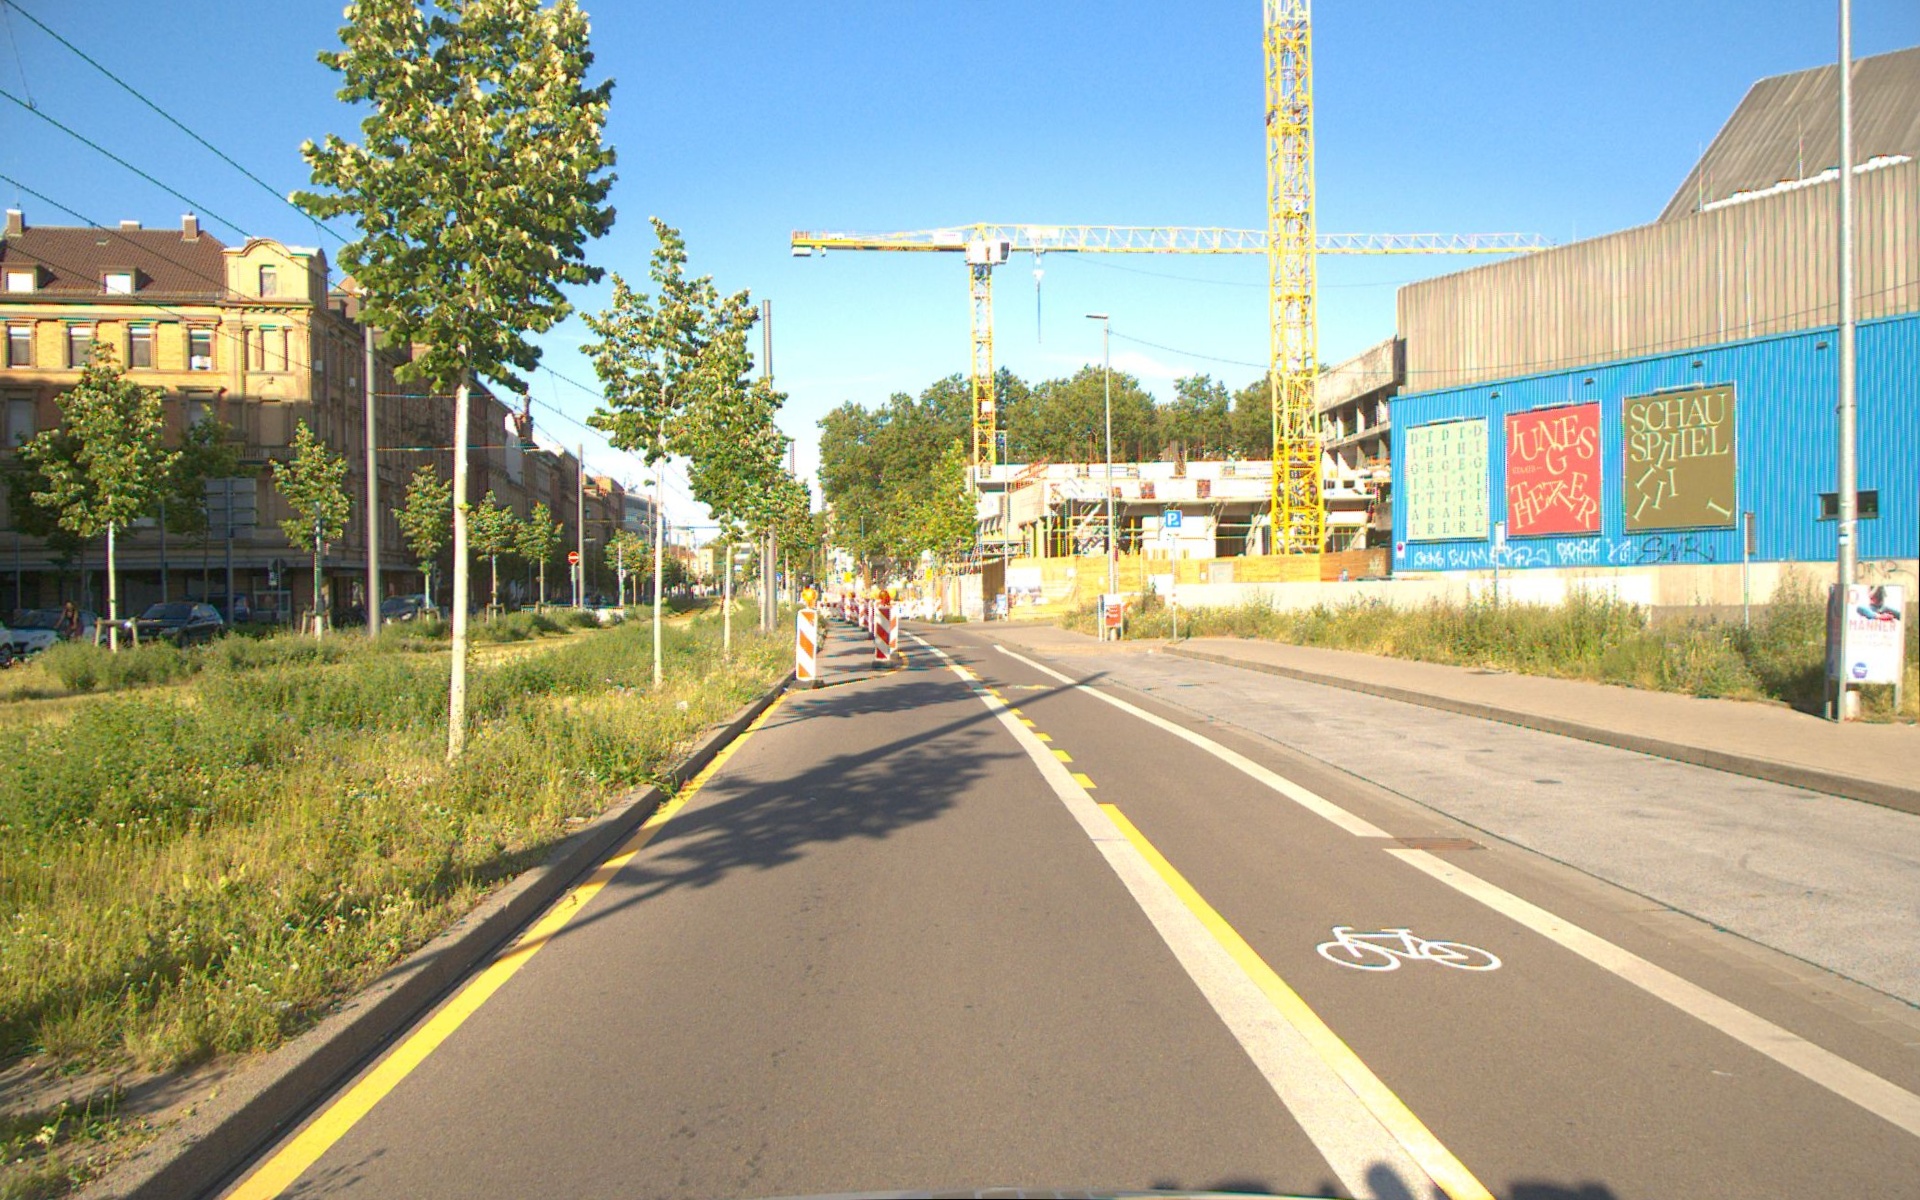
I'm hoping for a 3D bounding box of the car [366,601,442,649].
[{"bbox_3d":[-21.547,0.937,64.266,1.693,1.777,4.119,0,0,-2],"label":"car"}]

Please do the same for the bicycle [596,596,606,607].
[{"bbox_3d":[-30.411,0.130,140.181,0.682,0.995,1.824,0,0,-7],"label":"bicycle"}]

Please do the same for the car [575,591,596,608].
[{"bbox_3d":[-35.603,-0.056,157.138,1.537,1.590,4.706,-1,0,-8],"label":"car"}]

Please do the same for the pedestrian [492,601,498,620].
[{"bbox_3d":[-37.809,0.854,134.481,0.396,1.612,0.425,1,-1,-8],"label":"pedestrian"}]

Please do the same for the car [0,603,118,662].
[{"bbox_3d":[-25.449,0.883,46.409,1.615,1.581,3.966,0,0,0],"label":"car"}]

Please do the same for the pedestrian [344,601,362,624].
[{"bbox_3d":[-33.052,0.673,90.054,0.677,1.268,0.928,0,0,-7],"label":"pedestrian"}]

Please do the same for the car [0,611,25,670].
[{"bbox_3d":[-24.983,1.021,40.860,1.591,1.466,3.818,1,0,0],"label":"car"}]

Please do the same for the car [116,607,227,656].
[{"bbox_3d":[-25.873,1.015,54.416,1.694,1.487,3.901,2,0,1],"label":"car"}]

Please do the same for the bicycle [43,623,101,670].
[{"bbox_3d":[-22.836,1.183,42.564,0.553,1.115,1.770,-2,0,-1],"label":"bicycle"}]

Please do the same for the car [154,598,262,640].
[{"bbox_3d":[-36.570,0.921,80.532,4.431,1.936,1.892,-1,0,-13],"label":"car"}]

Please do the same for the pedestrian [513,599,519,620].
[{"bbox_3d":[-39.235,0.849,146.155,0.360,1.795,0.405,1,-1,-8],"label":"pedestrian"}]

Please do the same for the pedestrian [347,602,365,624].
[{"bbox_3d":[-33.668,0.724,92.215,0.776,1.229,0.928,0,0,-7],"label":"pedestrian"}]

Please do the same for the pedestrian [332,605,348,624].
[{"bbox_3d":[-34.129,0.791,91.025,0.677,1.078,0.735,0,0,-7],"label":"pedestrian"}]

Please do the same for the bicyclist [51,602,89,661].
[{"bbox_3d":[-22.840,0.807,42.447,0.553,1.483,0.706,-2,0,-2],"label":"bicyclist"}]

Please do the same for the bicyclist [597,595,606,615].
[{"bbox_3d":[-30.479,0.438,140.643,0.682,1.686,0.881,0,0,-7],"label":"bicyclist"}]
